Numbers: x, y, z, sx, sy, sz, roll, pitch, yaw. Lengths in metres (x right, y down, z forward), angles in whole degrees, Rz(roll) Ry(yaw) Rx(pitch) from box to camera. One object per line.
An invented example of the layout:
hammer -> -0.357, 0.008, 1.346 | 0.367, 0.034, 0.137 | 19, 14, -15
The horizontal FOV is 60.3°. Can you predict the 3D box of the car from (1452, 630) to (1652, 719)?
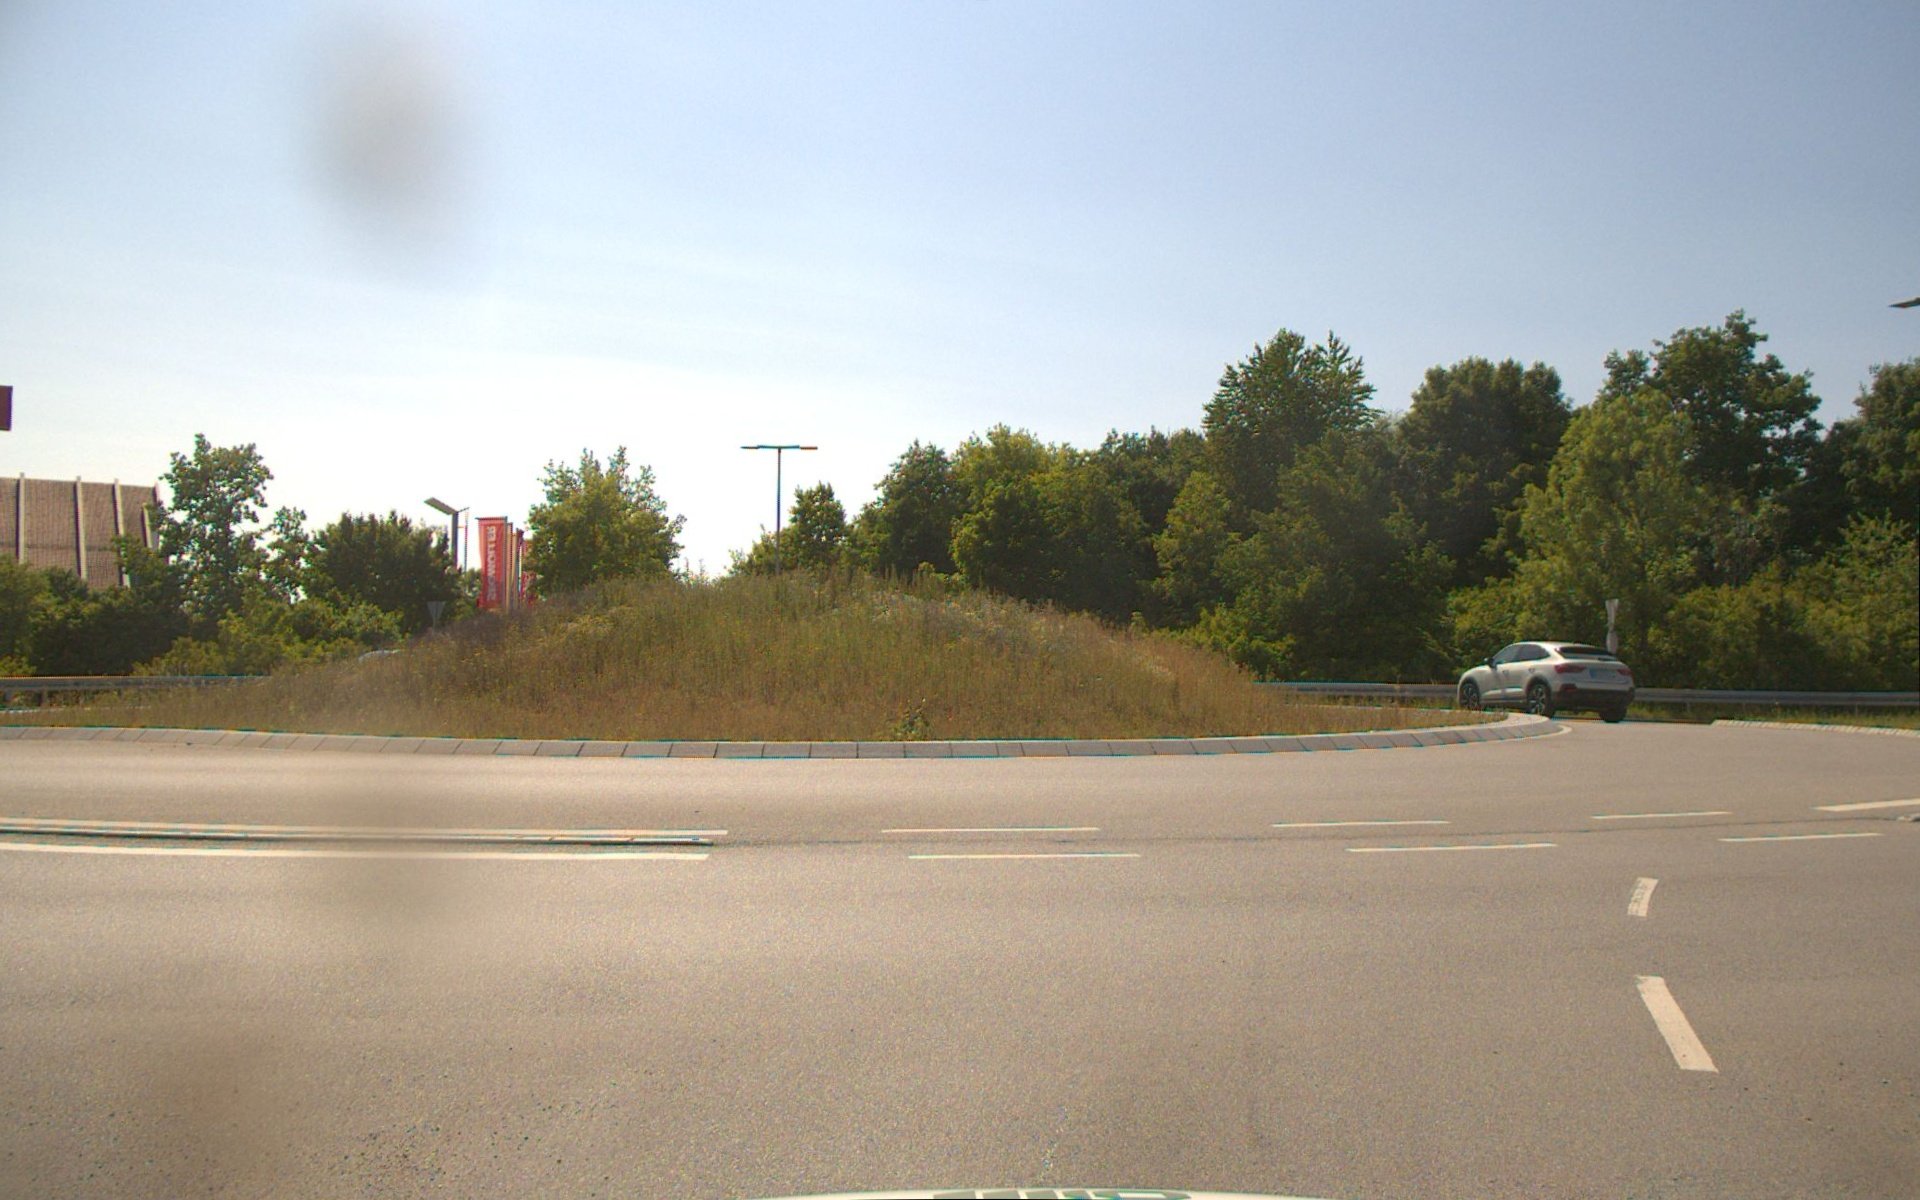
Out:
car -> 11.926, 1.462, 33.623 | 1.809, 1.624, 4.311 | 2, -1, -12
